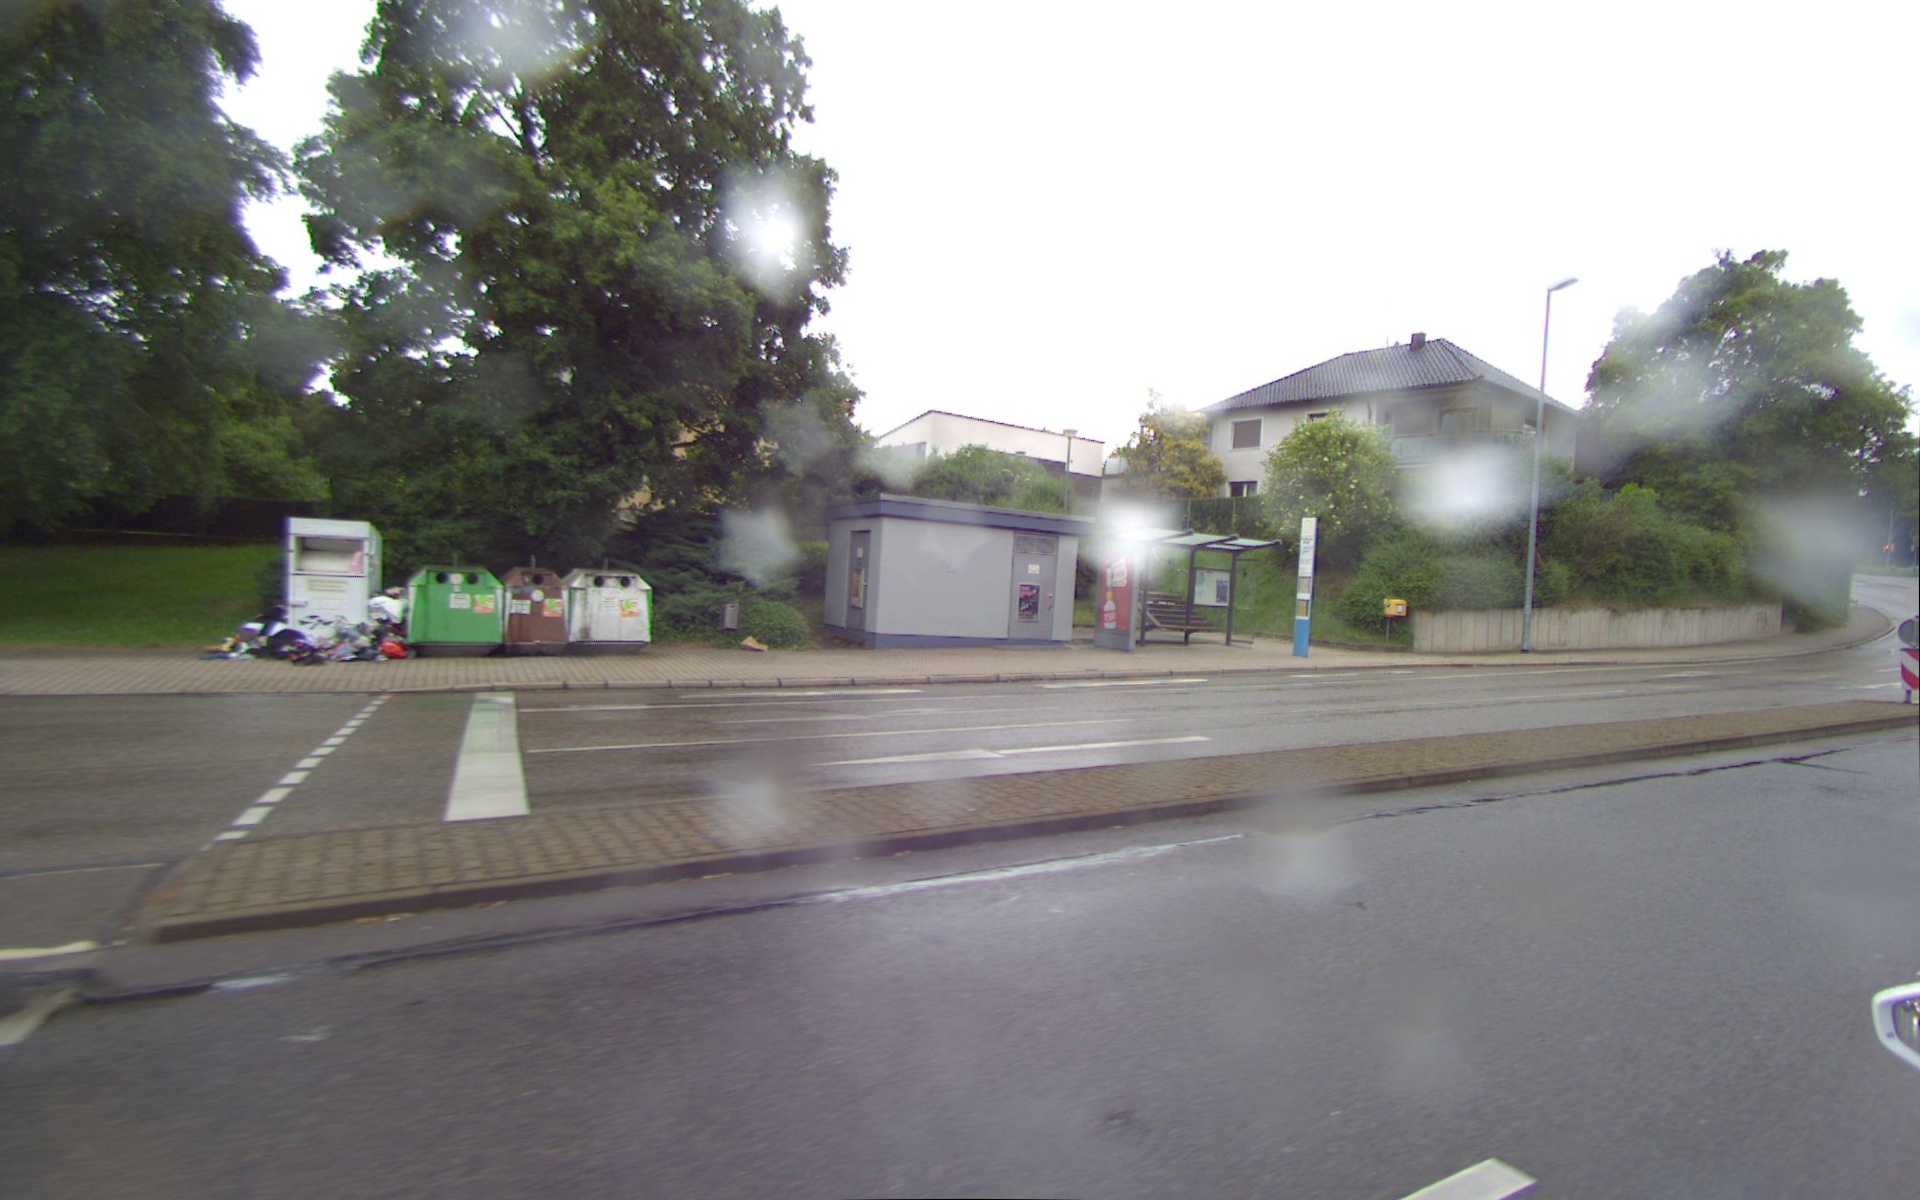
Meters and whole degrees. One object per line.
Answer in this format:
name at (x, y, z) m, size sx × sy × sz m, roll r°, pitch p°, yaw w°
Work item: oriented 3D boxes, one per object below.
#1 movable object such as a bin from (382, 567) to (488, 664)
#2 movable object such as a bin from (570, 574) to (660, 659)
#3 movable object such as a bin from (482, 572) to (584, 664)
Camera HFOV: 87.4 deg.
movable object such as a bin at (-9.300, 0.251, 17.820) m, size 1.562 × 1.590 × 2.049 m, roll 1°, pitch 0°, yaw -28°
movable object such as a bin at (-6.667, 0.290, 19.319) m, size 1.327 × 1.535 × 2.049 m, roll 1°, pitch 0°, yaw -28°
movable object such as a bin at (-7.931, 0.310, 18.607) m, size 1.562 × 1.590 × 2.049 m, roll 1°, pitch 0°, yaw -28°
